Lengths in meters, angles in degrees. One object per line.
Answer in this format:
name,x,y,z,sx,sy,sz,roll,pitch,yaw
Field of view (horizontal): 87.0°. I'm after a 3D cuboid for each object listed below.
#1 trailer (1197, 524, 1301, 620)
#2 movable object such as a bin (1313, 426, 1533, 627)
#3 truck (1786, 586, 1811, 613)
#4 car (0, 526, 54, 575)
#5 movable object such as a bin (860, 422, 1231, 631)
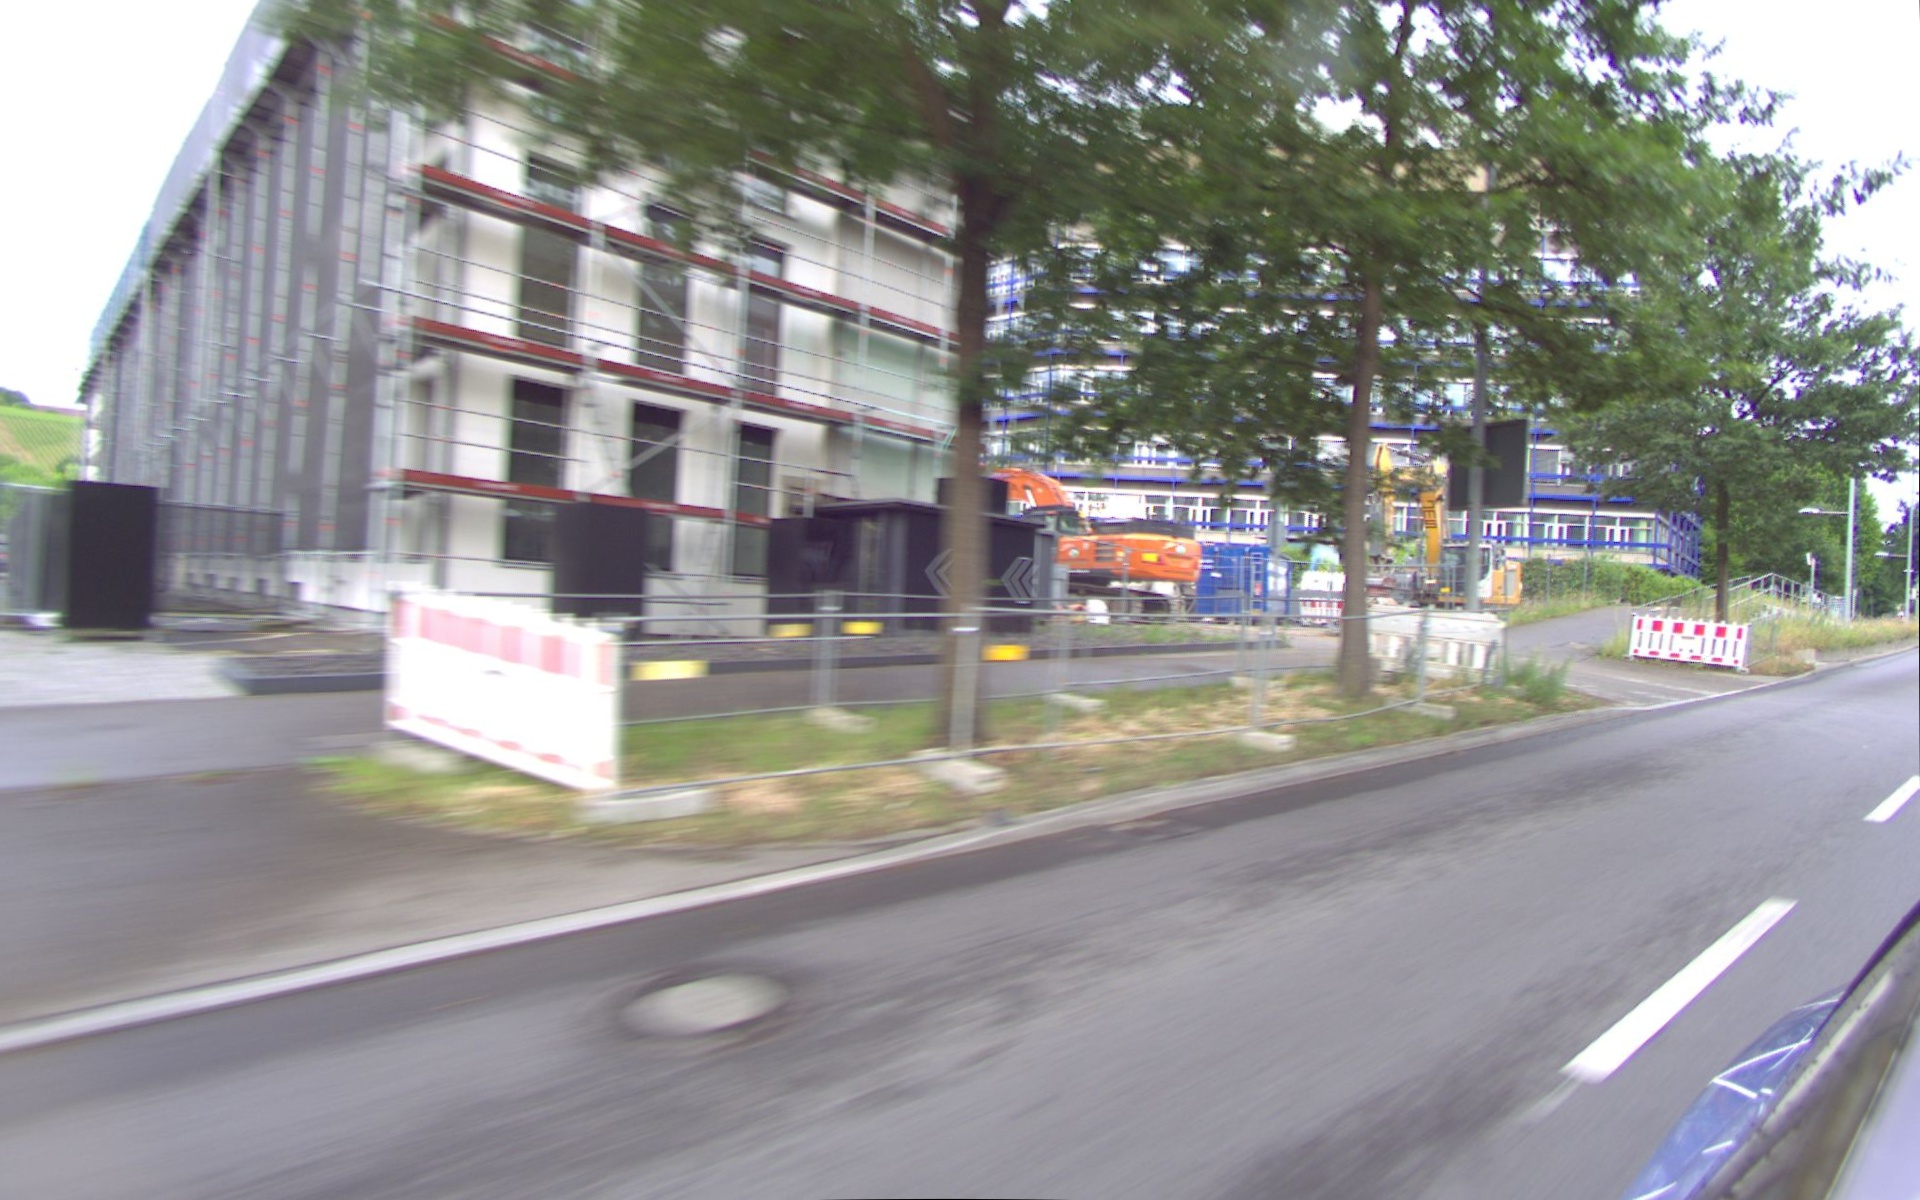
trailer,10.516,-0.901,36.297,2.617,3.081,7.437,0,0,24
movable object such as a bin,15.277,-2.140,33.036,8.612,5.757,3.295,0,0,-41
truck,83.258,-0.062,100.443,1.745,2.549,3.939,-1,0,42
car,-38.580,-1.960,40.720,1.958,1.772,4.007,0,0,-23
movable object such as a bin,2.077,-2.118,31.579,3.726,5.326,12.156,0,2,-43
